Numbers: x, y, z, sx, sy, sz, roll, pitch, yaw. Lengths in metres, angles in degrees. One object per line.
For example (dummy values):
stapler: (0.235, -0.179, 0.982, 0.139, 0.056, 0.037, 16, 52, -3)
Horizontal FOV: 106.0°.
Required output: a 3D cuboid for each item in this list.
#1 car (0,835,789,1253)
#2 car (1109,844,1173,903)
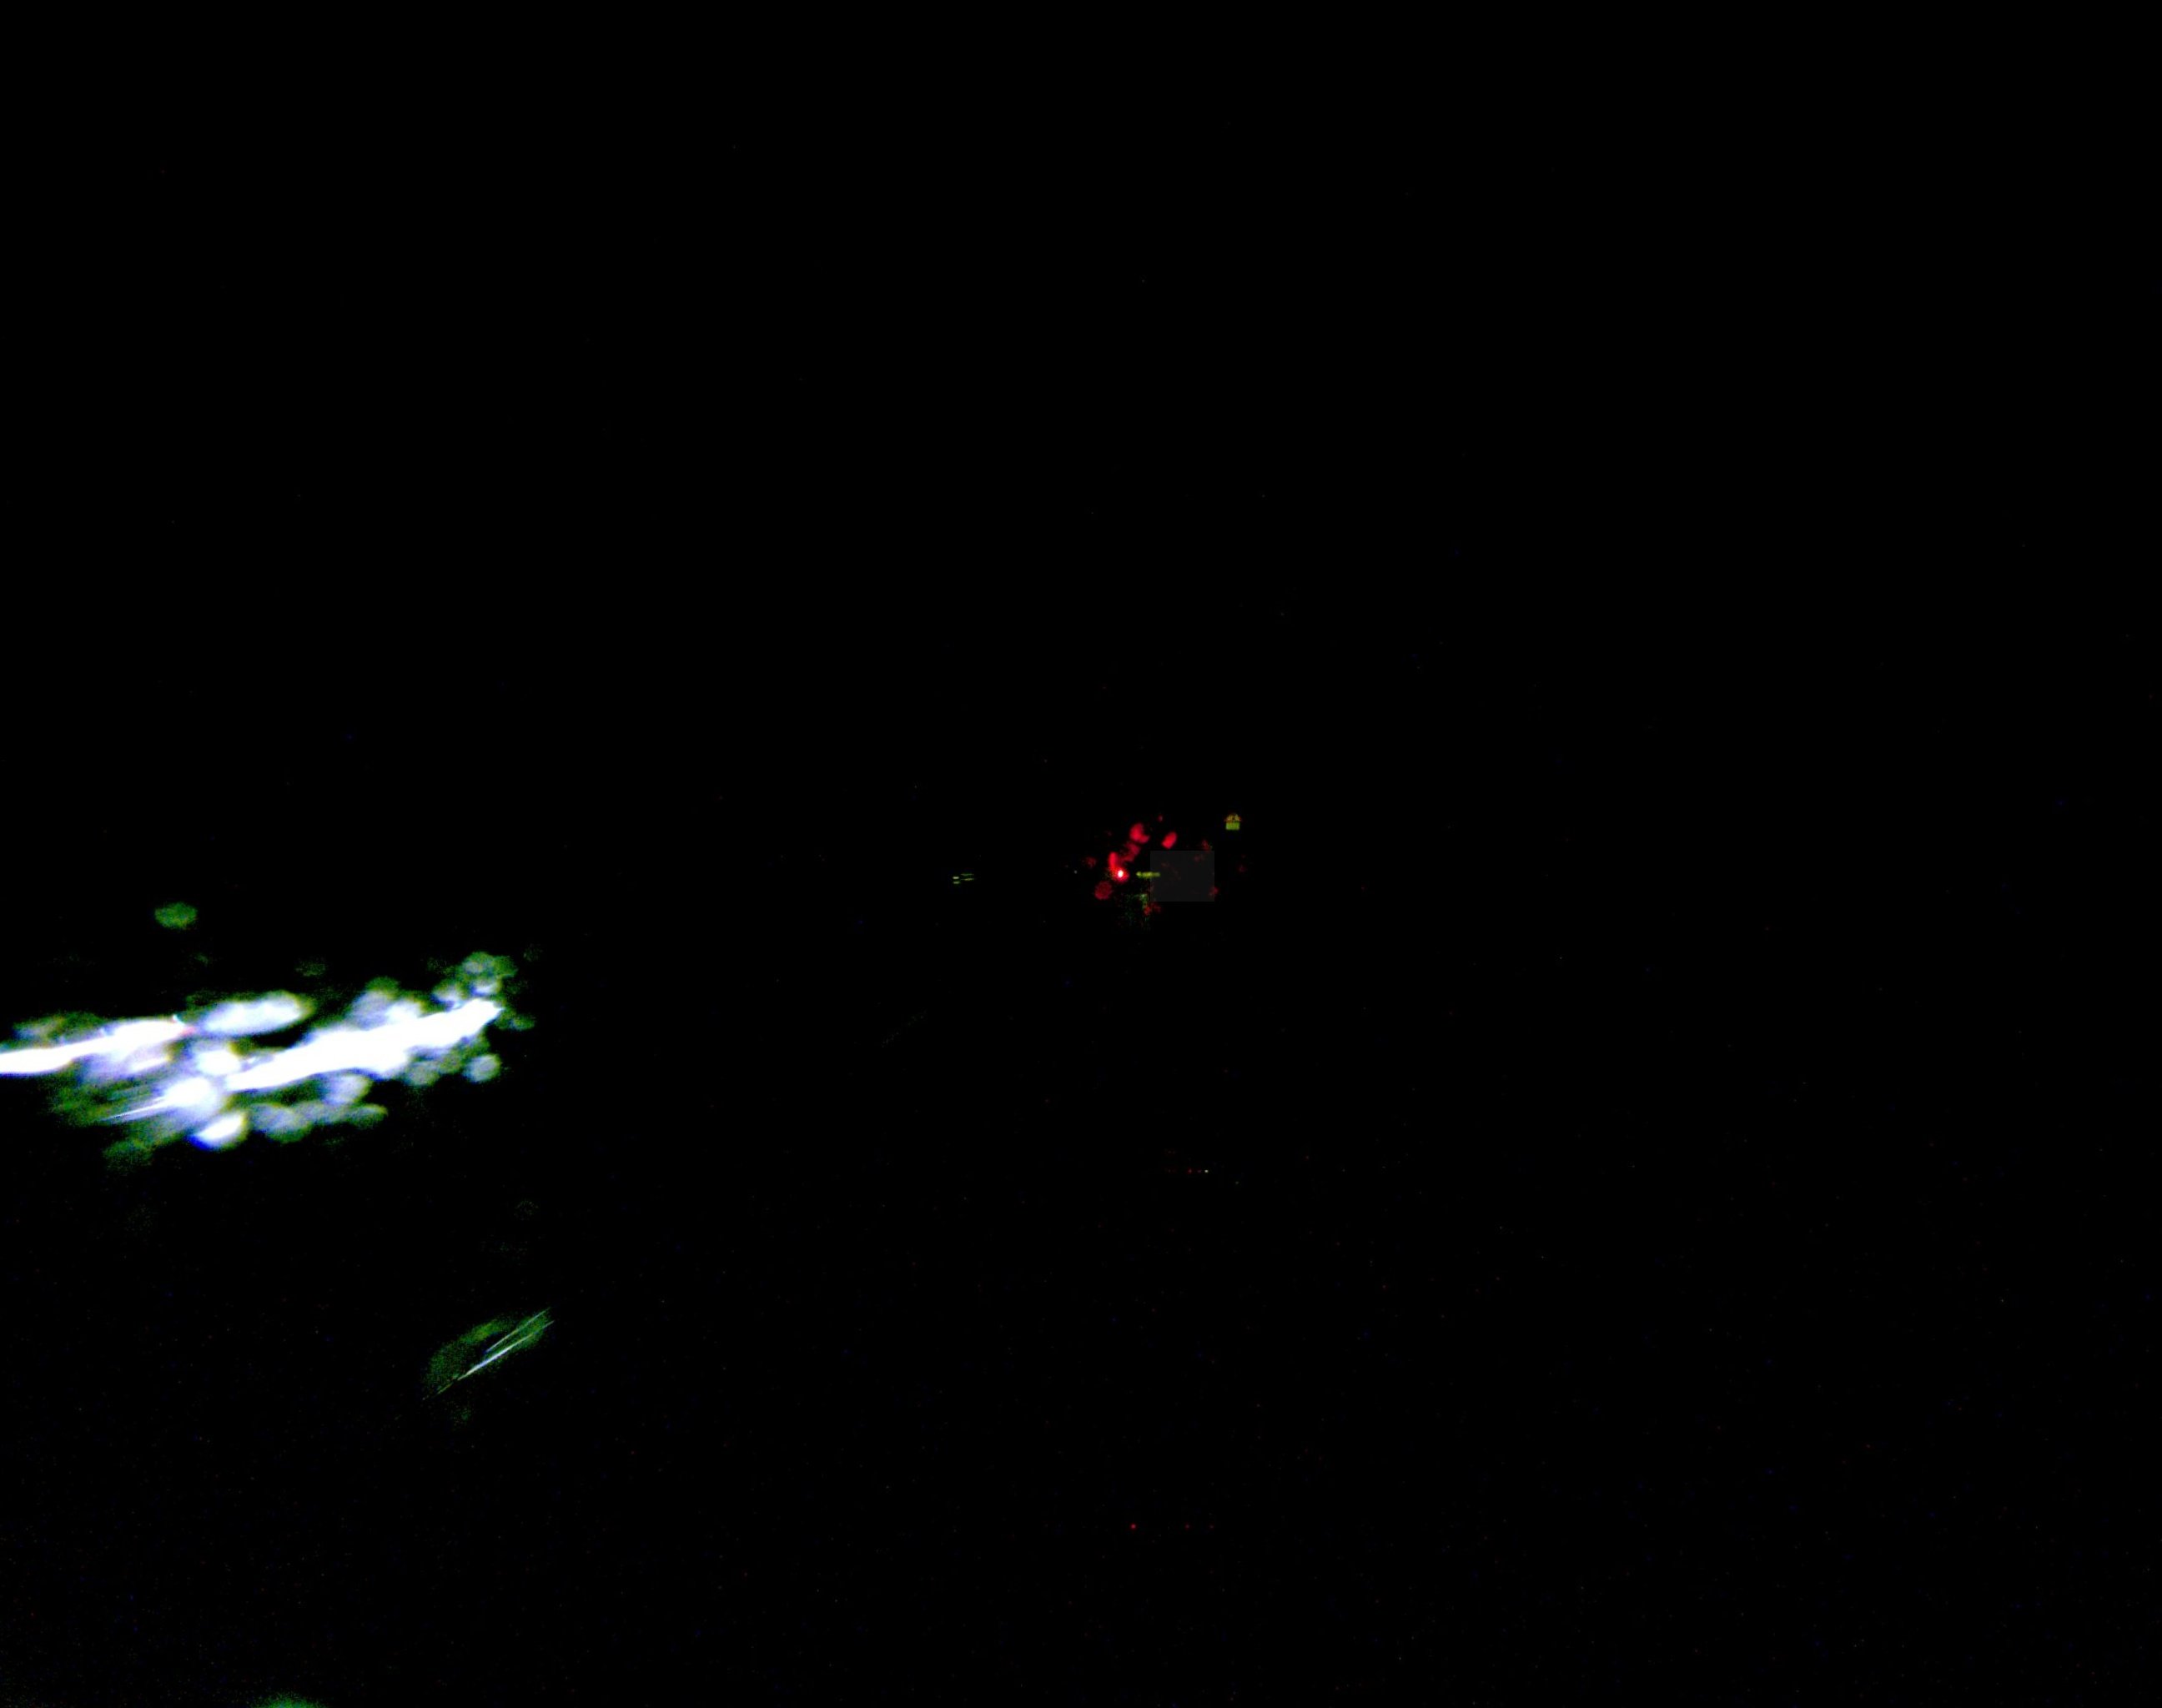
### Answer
car: (-3.557, 0.696, 5.124, 1.758, 1.542, 4.150, -1, 1, 2)
car: (2.056, 0.638, 28.749, 1.986, 1.807, 3.919, -3, 0, 1)
